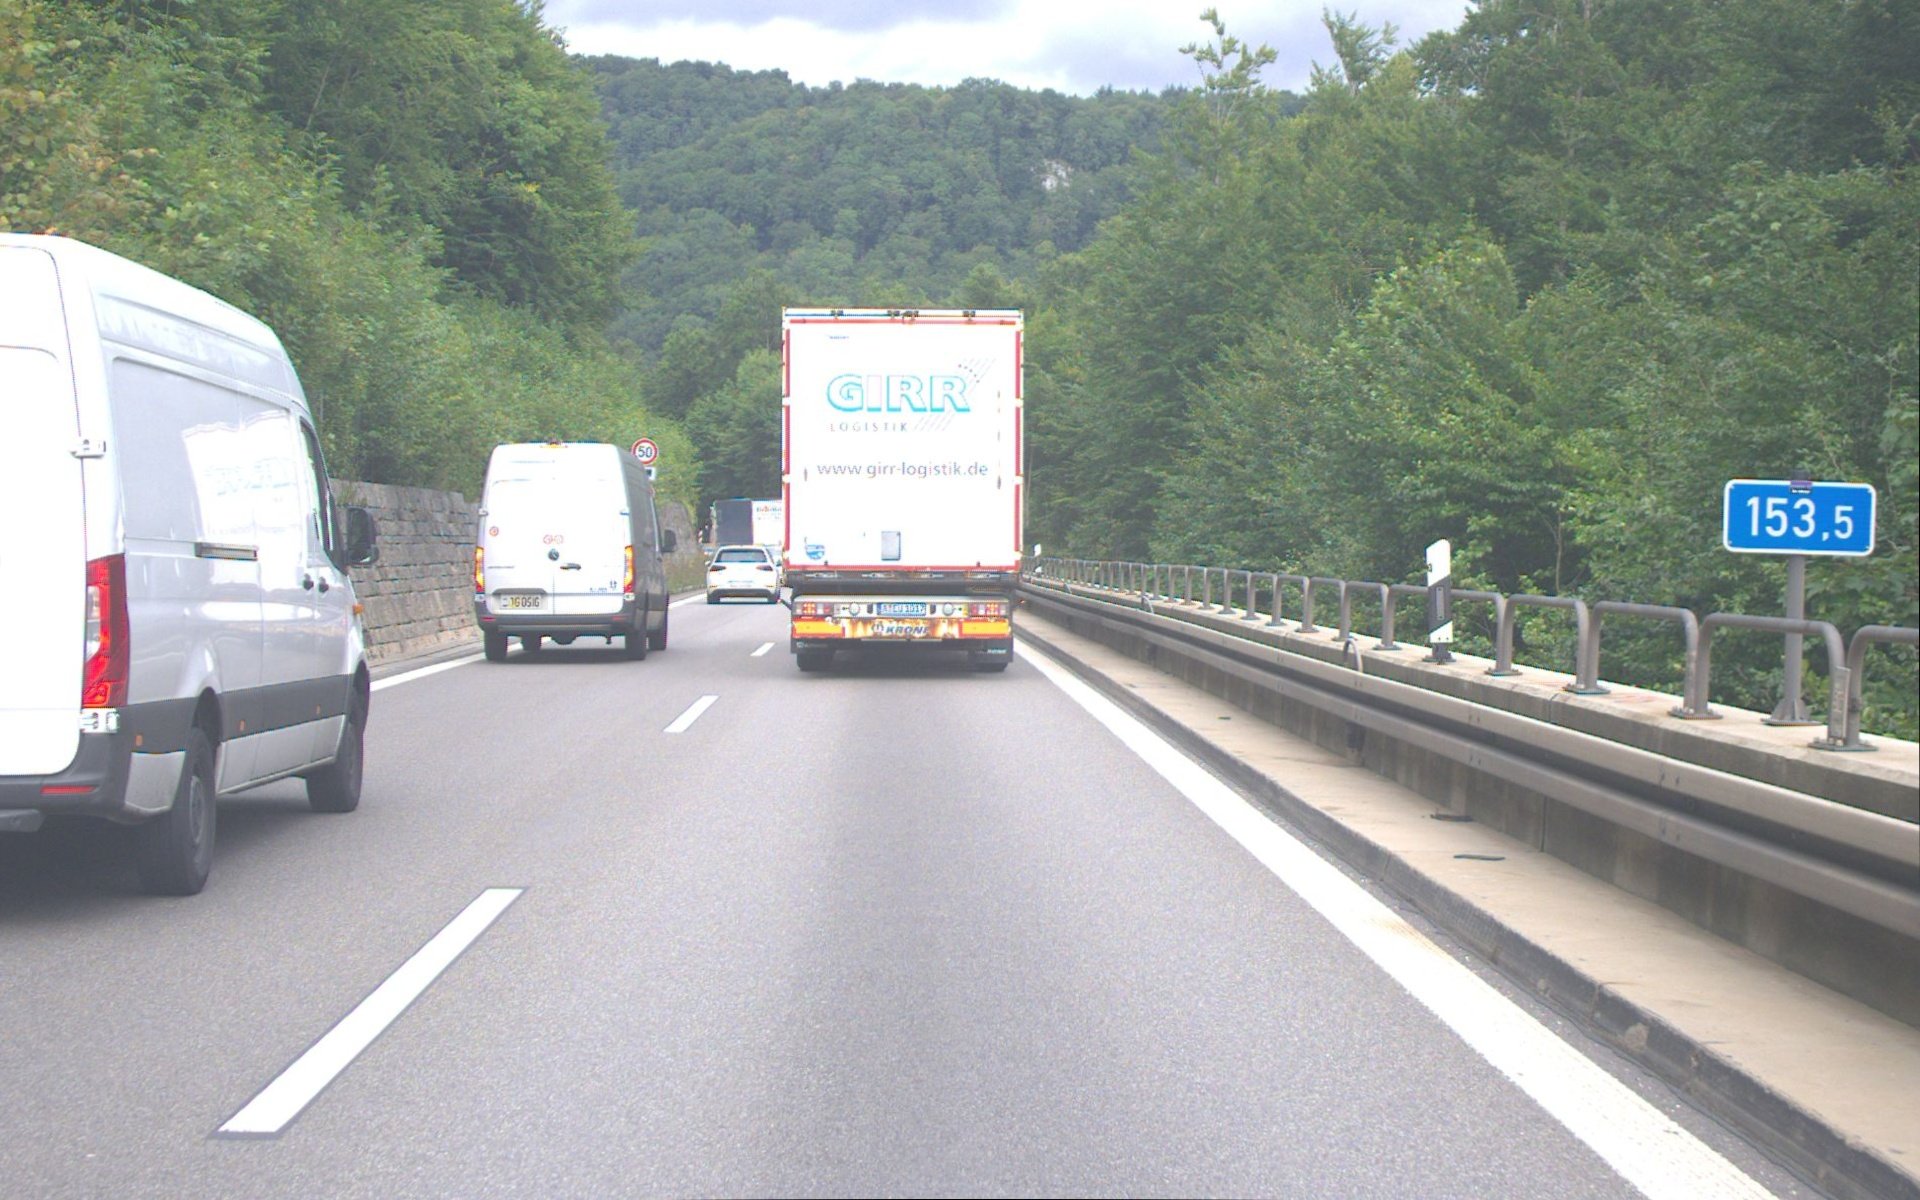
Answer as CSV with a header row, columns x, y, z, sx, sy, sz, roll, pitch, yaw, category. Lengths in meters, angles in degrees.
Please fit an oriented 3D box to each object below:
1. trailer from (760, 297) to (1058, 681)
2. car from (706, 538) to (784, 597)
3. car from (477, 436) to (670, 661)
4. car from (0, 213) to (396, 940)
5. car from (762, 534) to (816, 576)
x,y,z,sx,sy,sz,roll,pitch,yaw,category
-0.639,-1.410,42.021,3.057,3.972,12.138,1,2,-1,trailer
-5.367,-0.829,86.349,1.732,1.416,4.000,1,1,-1,car
-4.834,-0.672,43.708,1.939,2.663,5.992,0,1,-2,car
-4.129,-0.160,16.055,1.989,2.663,6.937,0,1,-1,car
-6.048,-1.607,121.760,1.732,1.416,4.000,1,1,0,car
